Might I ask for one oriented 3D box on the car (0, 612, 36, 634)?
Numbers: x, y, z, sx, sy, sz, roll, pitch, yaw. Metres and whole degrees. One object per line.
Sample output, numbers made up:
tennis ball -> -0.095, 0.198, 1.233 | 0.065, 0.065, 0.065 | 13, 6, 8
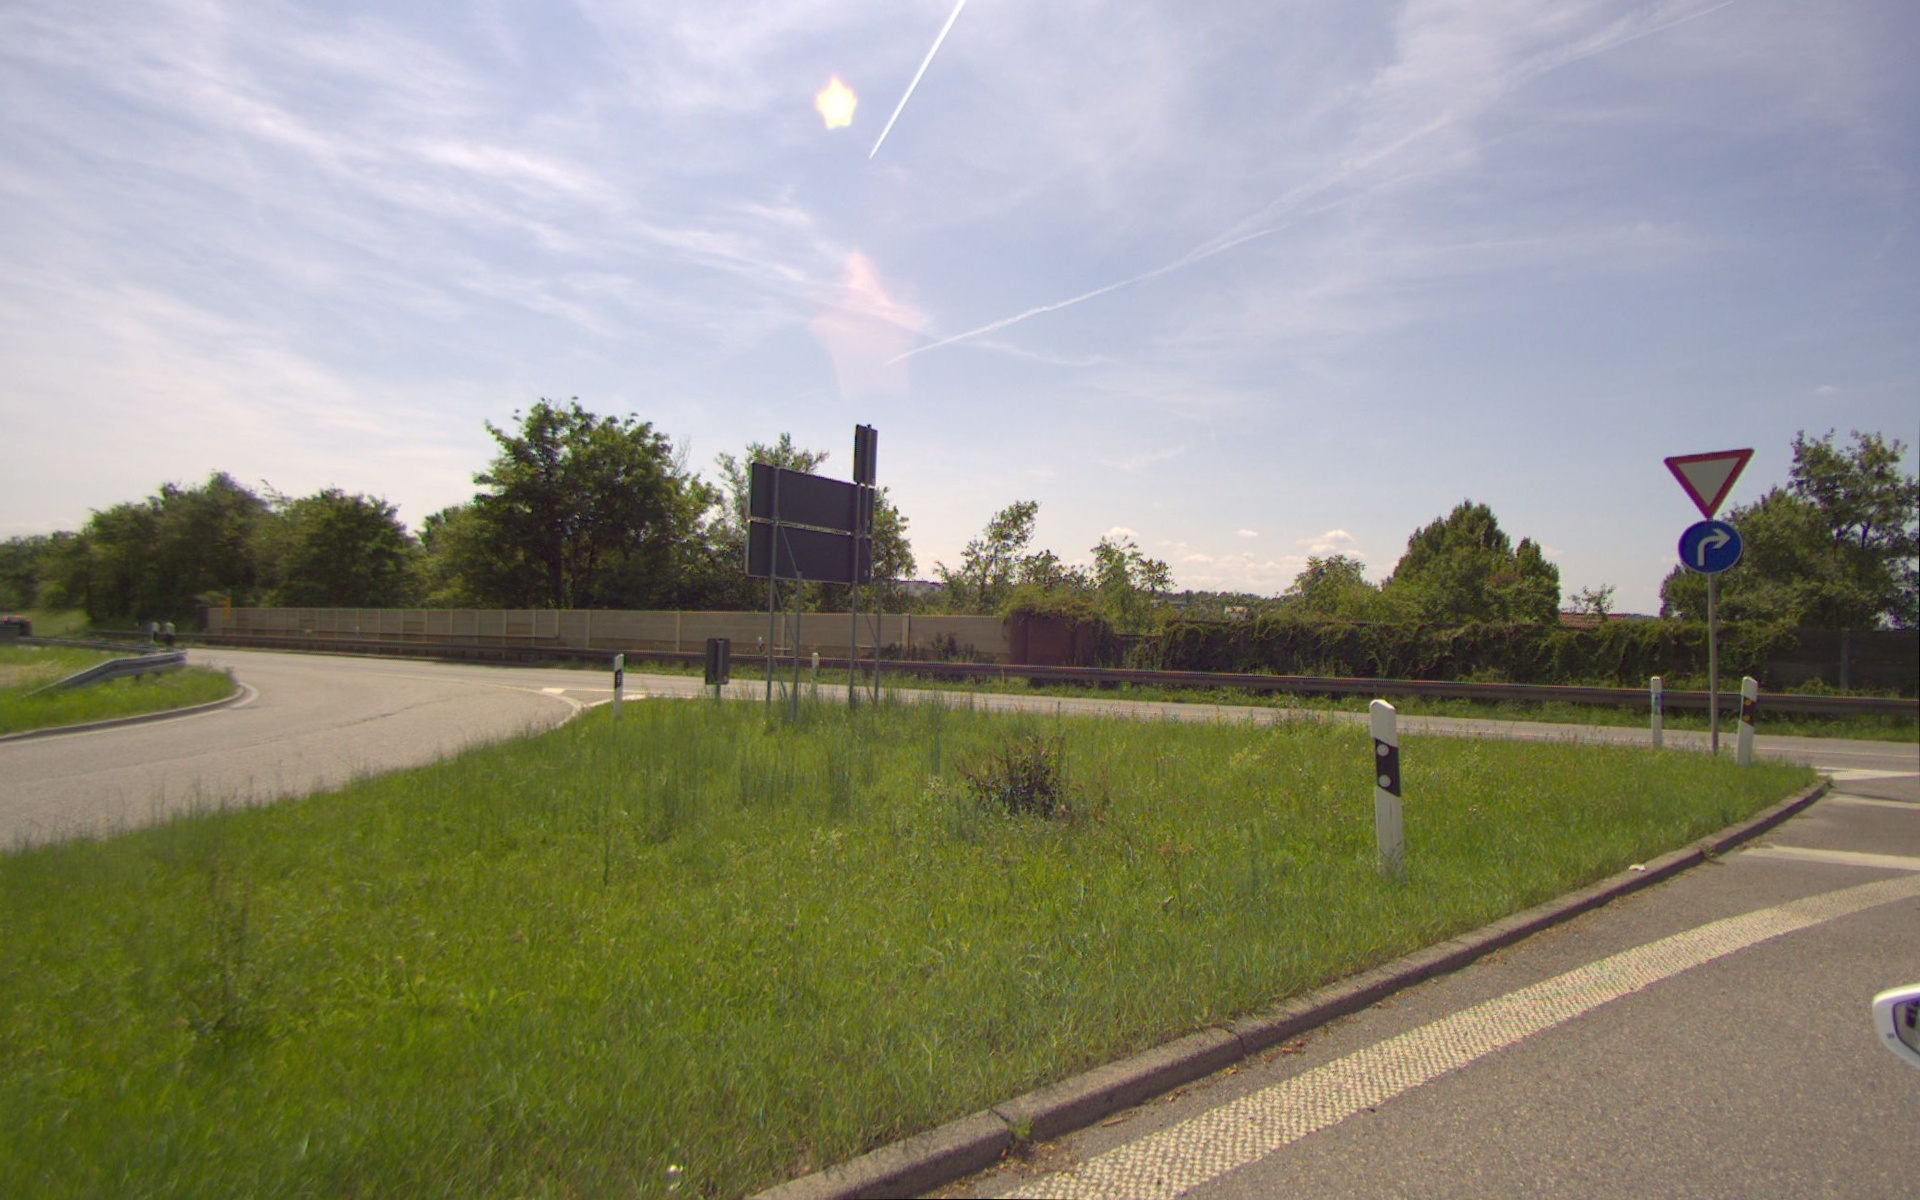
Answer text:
car -> -70.132, 1.698, 74.384 | 4.040, 1.559, 1.749 | 1, -1, 36
